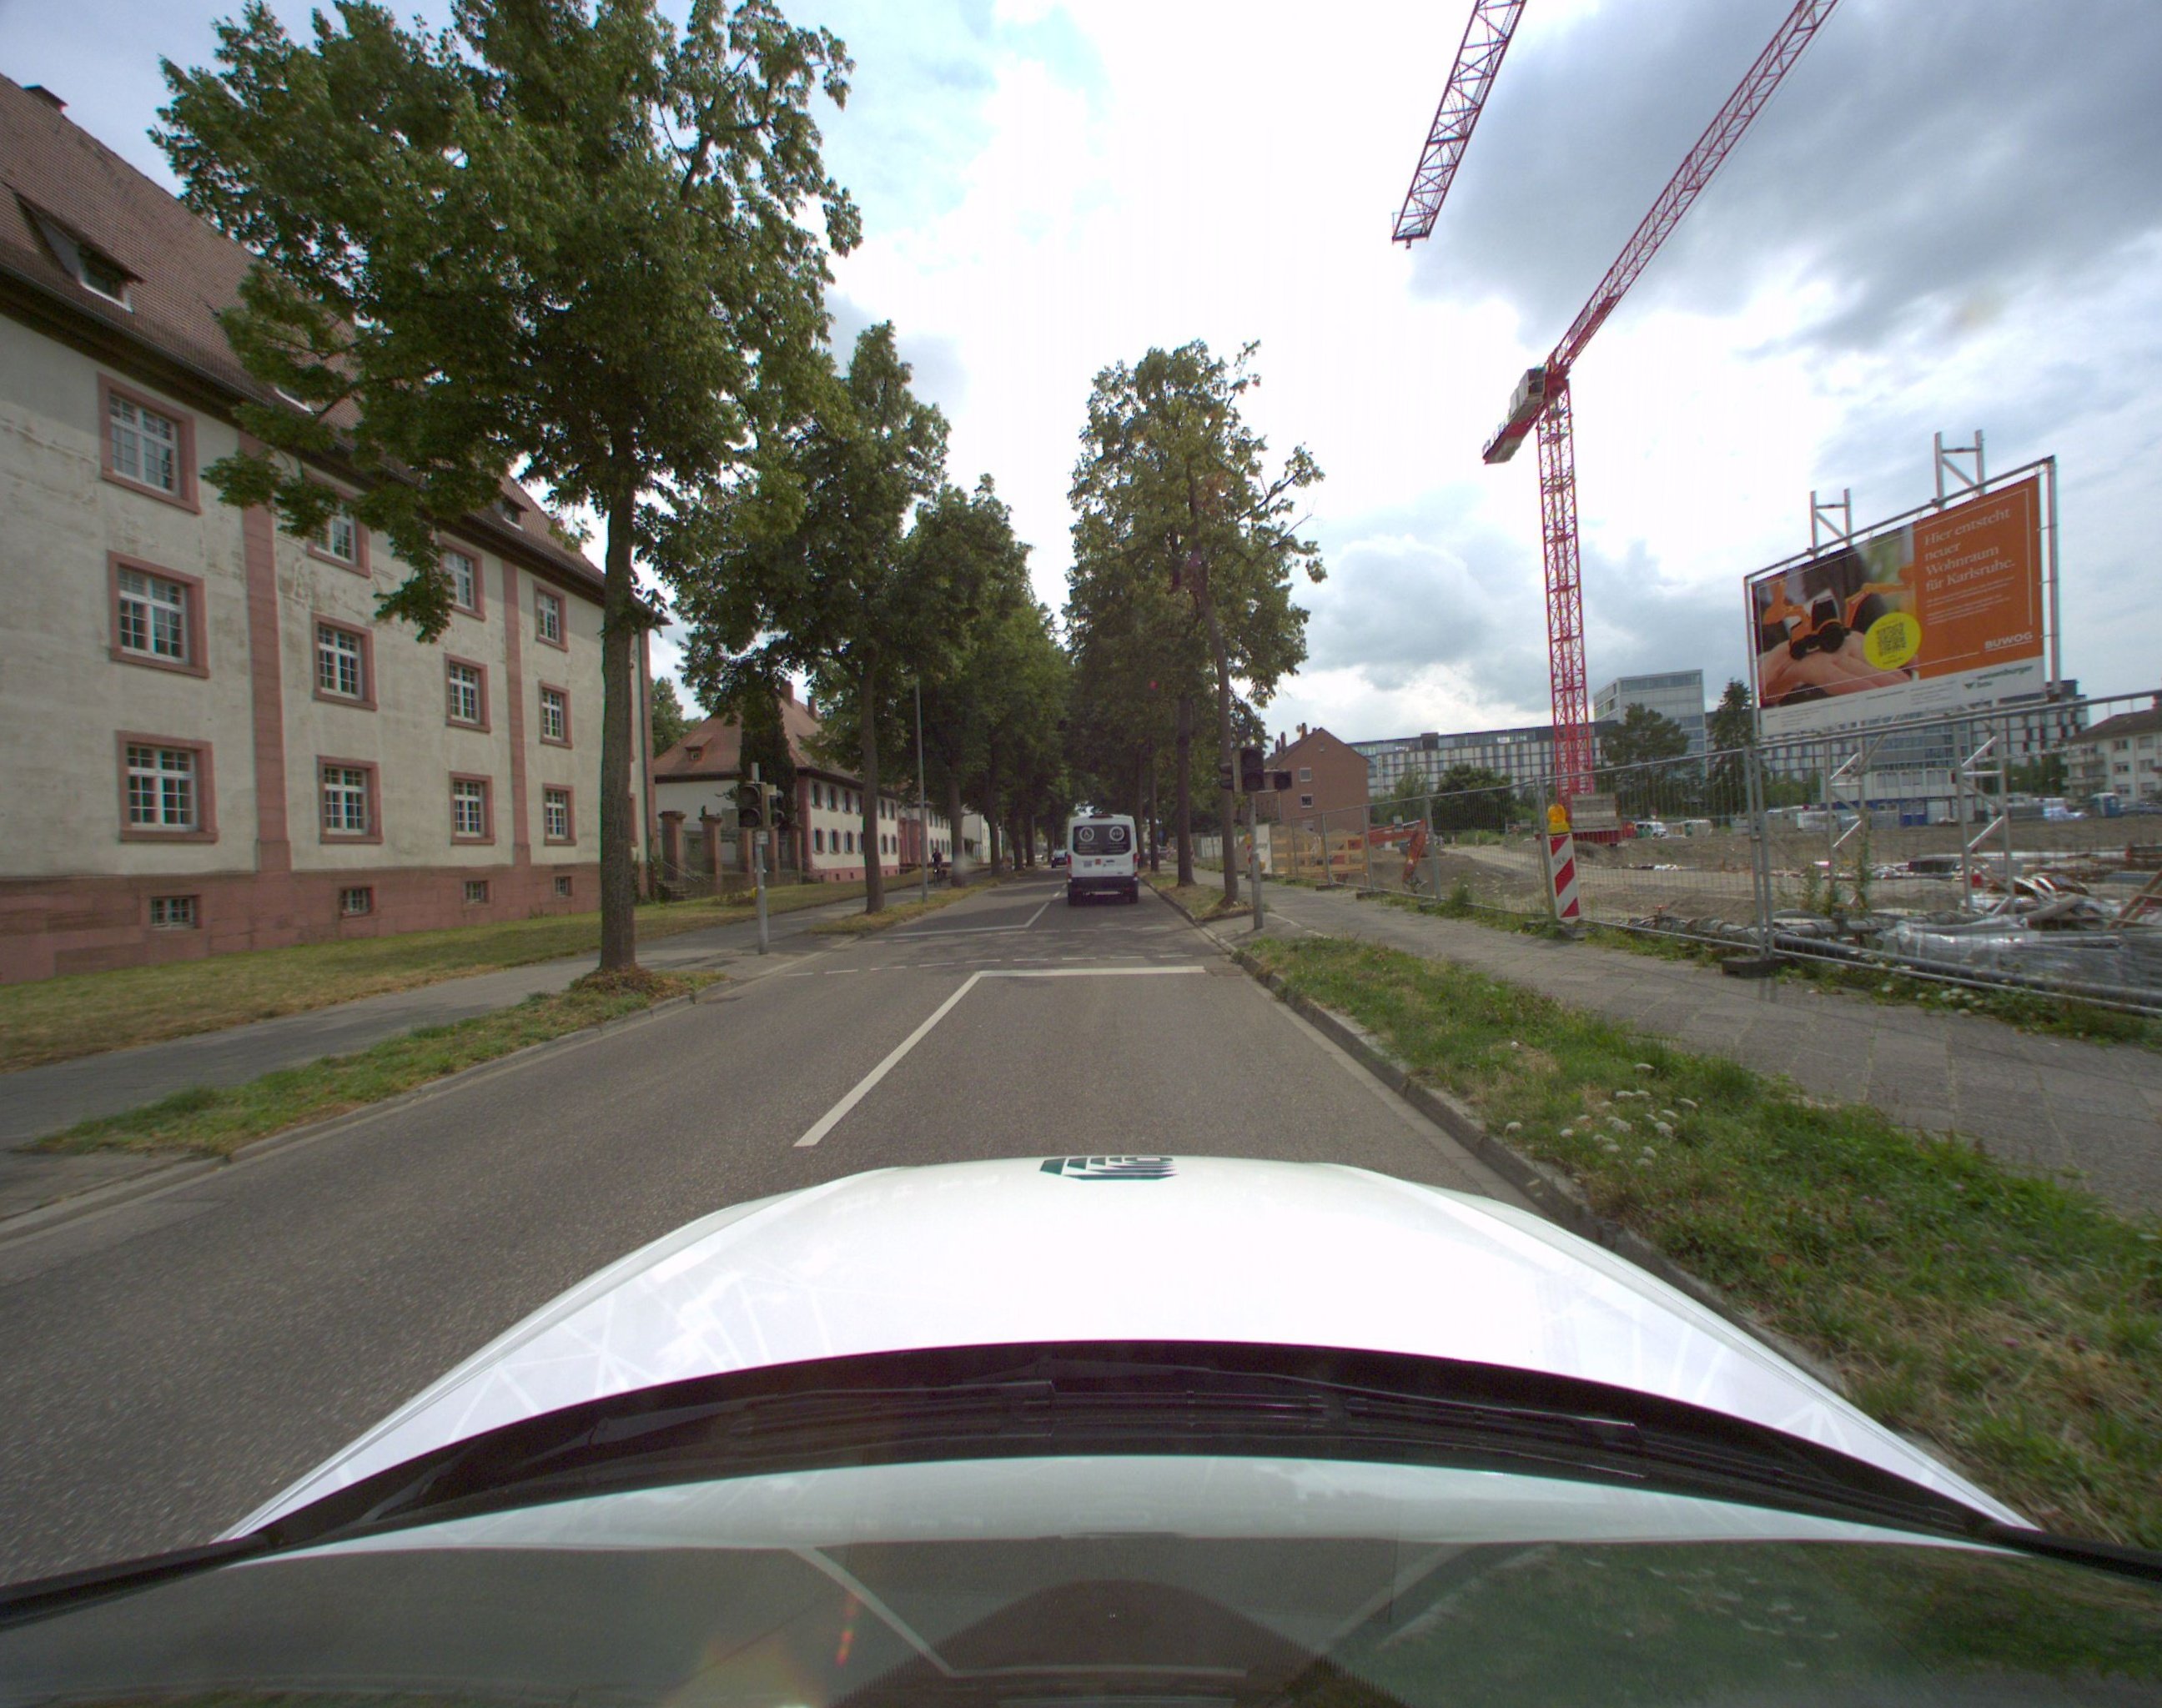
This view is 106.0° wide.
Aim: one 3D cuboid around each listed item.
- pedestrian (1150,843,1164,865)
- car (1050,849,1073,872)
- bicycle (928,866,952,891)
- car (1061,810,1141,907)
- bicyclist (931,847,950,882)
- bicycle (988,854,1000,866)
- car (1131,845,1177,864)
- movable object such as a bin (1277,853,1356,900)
[{"bbox_3d":[6.324,-0.011,67.849,0.875,1.814,0.893,-5,-1,20],"label":"pedestrian"},{"bbox_3d":[-1.643,0.542,70.300,1.766,1.659,4.257,-5,1,0],"label":"car"},{"bbox_3d":[-6.745,1.148,39.094,0.720,1.095,2.152,1,0,1],"label":"bicycle"},{"bbox_3d":[0.494,0.121,23.983,2.057,2.540,3.997,-2,0,-2],"label":"car"},{"bbox_3d":[-6.741,0.505,39.119,0.720,1.656,0.958,1,0,1],"label":"bicyclist"},{"bbox_3d":[-7.790,0.537,72.955,0.720,1.095,2.226,1,0,1],"label":"bicycle"},{"bbox_3d":[7.153,0.062,80.325,4.354,1.442,2.012,-4,-2,2],"label":"car"},{"bbox_3d":[15.427,1.467,53.497,4.647,2.589,3.146,-5,0,15],"label":"movable object such as a bin"}]
